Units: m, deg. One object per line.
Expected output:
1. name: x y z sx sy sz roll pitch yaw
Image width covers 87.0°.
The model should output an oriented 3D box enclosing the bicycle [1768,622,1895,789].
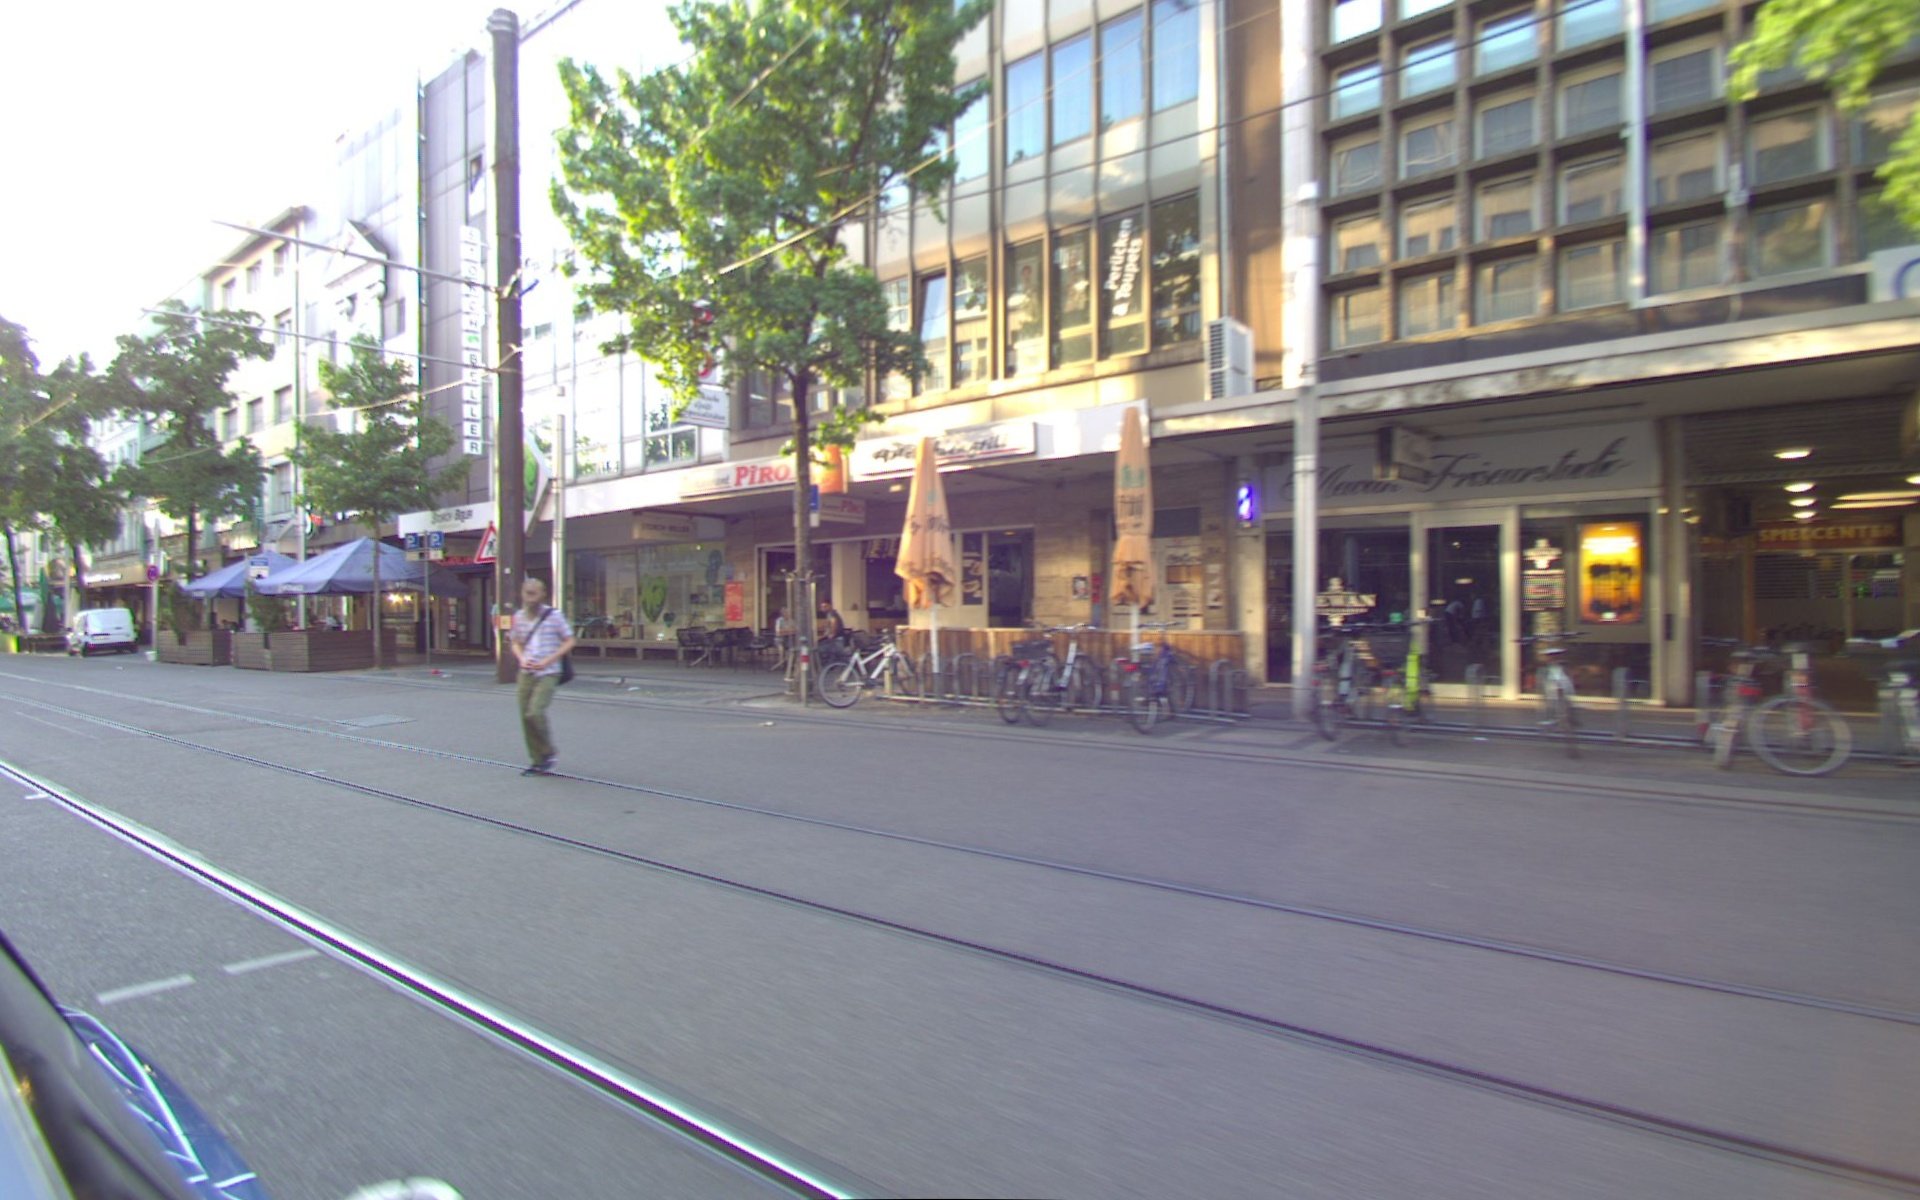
1. bicycle: 6.725 0.753 7.872 0.488 1.079 1.758 -2 0 33

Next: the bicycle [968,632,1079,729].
1. bicycle: 0.797 0.927 12.122 0.488 0.997 1.758 -3 0 33

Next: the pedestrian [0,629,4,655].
1. pedestrian: -51.214 2.232 53.735 0.640 1.396 0.651 0 -1 -44

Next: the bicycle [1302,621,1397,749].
1. bicycle: 3.906 0.796 10.078 0.488 1.079 1.758 -2 0 33

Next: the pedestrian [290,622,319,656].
1. pedestrian: -23.044 1.362 35.572 0.664 1.165 0.635 -1 2 37

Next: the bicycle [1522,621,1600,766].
1. bicycle: 5.351 0.774 8.976 0.488 1.079 1.758 -2 0 33

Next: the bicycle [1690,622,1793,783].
1. bicycle: 6.271 0.760 8.176 0.488 1.079 1.758 -2 0 33

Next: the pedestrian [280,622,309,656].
1. pedestrian: -23.852 1.375 36.281 0.664 1.165 0.635 -1 2 37

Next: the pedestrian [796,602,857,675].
1. pedestrian: -2.568 0.730 19.445 0.911 1.335 0.664 -1 2 38

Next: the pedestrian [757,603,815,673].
1. pedestrian: -3.468 0.744 20.144 0.911 1.335 0.664 -1 2 38

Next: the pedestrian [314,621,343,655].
1. pedestrian: -22.652 1.356 36.288 0.664 1.165 0.635 -1 2 37

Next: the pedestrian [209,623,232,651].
1. pedestrian: -32.974 1.639 45.140 0.648 1.184 0.643 -1 0 34

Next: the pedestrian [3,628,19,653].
1. pedestrian: -53.530 2.266 57.107 0.640 1.396 0.651 0 -1 -44

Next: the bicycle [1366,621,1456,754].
1. bicycle: 4.363 0.789 9.726 0.488 1.079 1.758 -2 0 33

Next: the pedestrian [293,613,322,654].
1. pedestrian: -24.491 1.256 37.965 0.642 1.444 0.654 0 4 39

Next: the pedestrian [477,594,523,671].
1. pedestrian: -11.153 0.777 24.535 0.676 1.806 0.991 -3 2 -44

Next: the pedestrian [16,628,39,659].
1. pedestrian: -45.466 2.107 49.352 0.639 1.471 0.652 0 -1 -21

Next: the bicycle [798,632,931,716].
1. bicycle: -1.272 0.972 13.724 1.748 0.973 0.491 -2 1 -34

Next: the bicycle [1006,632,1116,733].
1. bicycle: 1.210 0.920 11.793 0.488 0.997 1.758 -3 0 33

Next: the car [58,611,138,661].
1. car: -35.189 1.444 41.294 4.327 1.835 1.807 -2 2 41

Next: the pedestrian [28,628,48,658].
1. pedestrian: -45.755 2.111 50.243 0.639 1.471 0.652 0 -1 -34

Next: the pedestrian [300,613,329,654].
1. pedestrian: -23.930 1.248 37.516 0.642 1.444 0.654 0 4 39

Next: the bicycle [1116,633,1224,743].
1. bicycle: 2.294 0.904 10.890 0.488 0.997 1.758 -3 0 33

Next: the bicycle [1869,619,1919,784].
1. bicycle: 7.221 0.719 7.450 0.488 1.079 1.758 -2 0 33

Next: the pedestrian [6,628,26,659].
1. pedestrian: -46.368 2.121 49.730 0.649 1.471 0.641 -2 -1 40

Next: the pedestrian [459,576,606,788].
1. pedestrian: -3.864 0.703 9.227 0.811 1.806 0.989 -2 1 3
